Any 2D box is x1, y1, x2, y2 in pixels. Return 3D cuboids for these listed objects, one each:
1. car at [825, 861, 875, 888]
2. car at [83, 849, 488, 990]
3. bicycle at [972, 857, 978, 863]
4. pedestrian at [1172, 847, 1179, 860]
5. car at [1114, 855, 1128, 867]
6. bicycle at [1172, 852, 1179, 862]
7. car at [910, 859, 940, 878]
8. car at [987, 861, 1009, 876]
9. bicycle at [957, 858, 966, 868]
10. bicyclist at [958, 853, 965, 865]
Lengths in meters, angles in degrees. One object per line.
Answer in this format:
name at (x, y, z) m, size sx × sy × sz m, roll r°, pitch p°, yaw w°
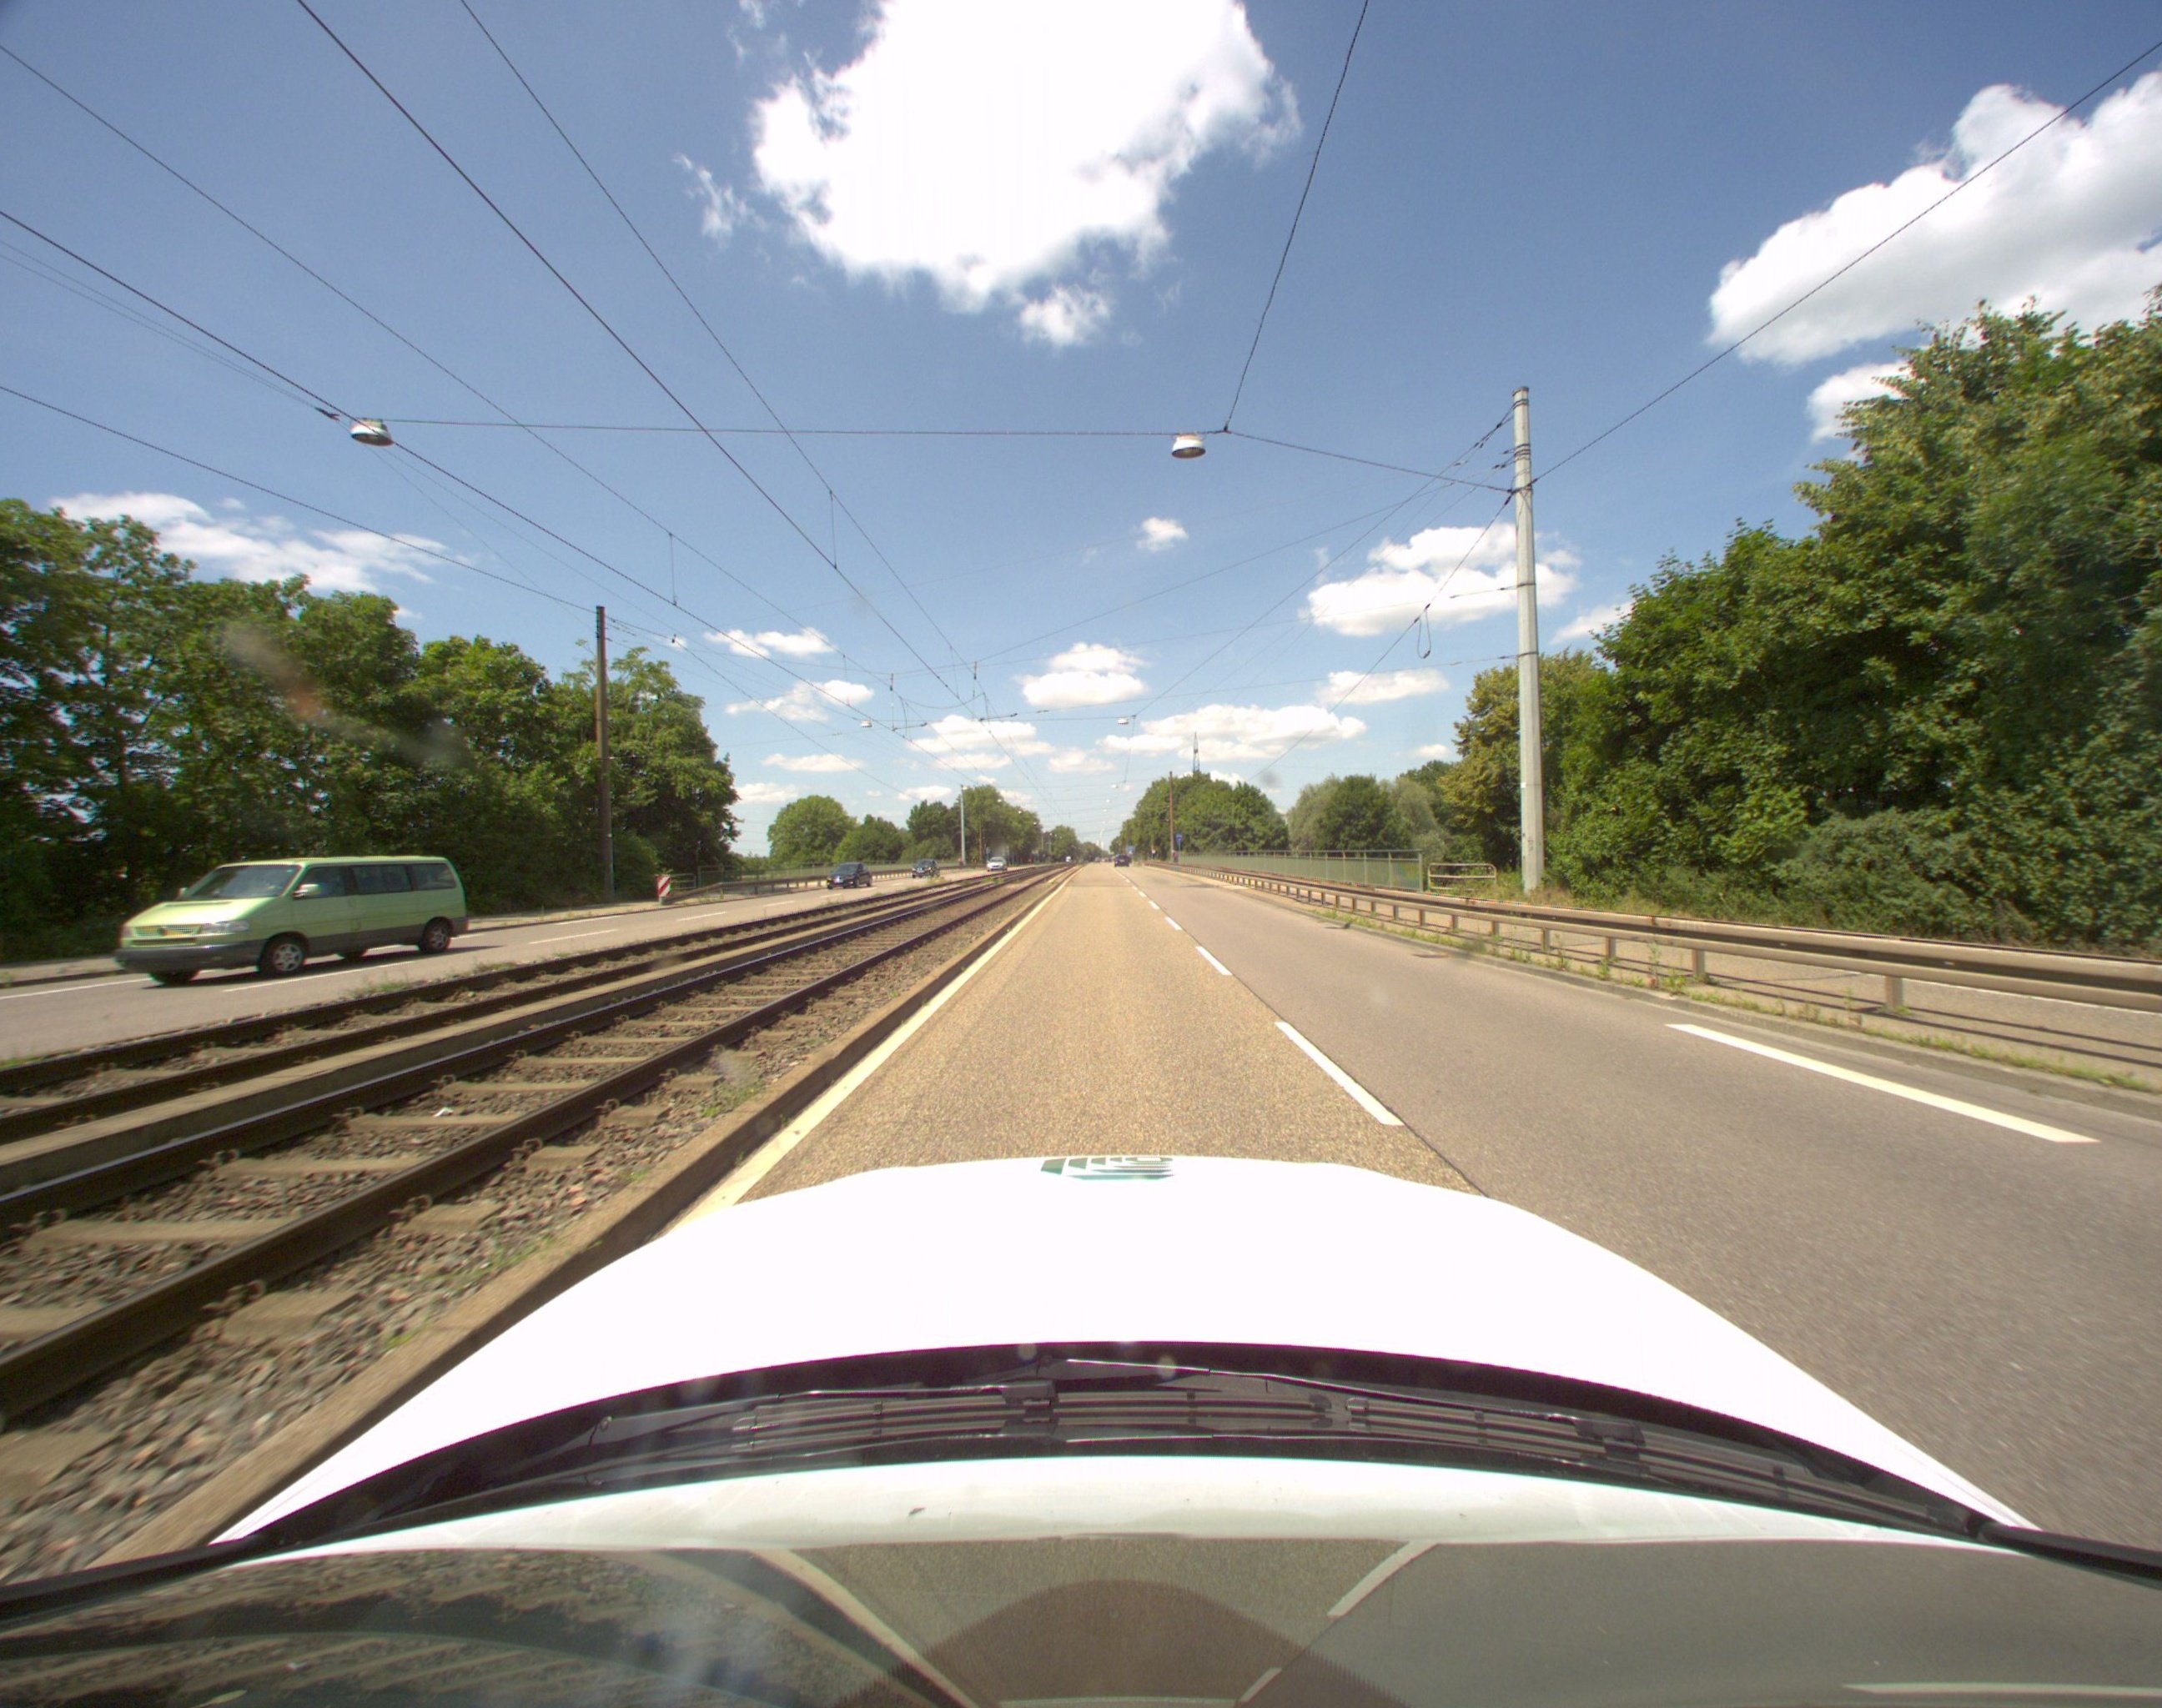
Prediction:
car at (-13.002, 1.129, 45.963) m, size 1.557 × 1.347 × 3.930 m, roll -2°, pitch 0°, yaw 1°
car at (-13.177, 0.951, 14.150) m, size 1.805 × 1.925 × 5.180 m, roll -2°, pitch 0°, yaw 1°
bicycle at (-15.392, 0.879, 118.221) m, size 0.521 × 0.843 × 2.035 m, roll 0°, pitch 0°, yaw -1°
pedestrian at (10.048, -0.045, 86.568) m, size 0.625 × 1.374 × 1.051 m, roll -2°, pitch -1°, yaw 1°
car at (4.885, 0.854, 100.001) m, size 1.581 × 1.343 × 3.271 m, roll -2°, pitch 0°, yaw 0°
bicycle at (10.060, 0.354, 86.495) m, size 0.557 × 1.024 × 1.848 m, roll -2°, pitch -1°, yaw 1°
car at (-12.360, 1.113, 64.671) m, size 1.569 × 1.400 × 3.938 m, roll -2°, pitch 0°, yaw 1°
car at (-8.666, 1.533, 85.322) m, size 1.705 × 1.420 × 4.625 m, roll -2°, pitch 0°, yaw 1°
bicycle at (-15.623, 1.184, 106.620) m, size 0.854 × 1.185 × 2.062 m, roll 0°, pitch 0°, yaw 1°
bicyclist at (-15.611, 0.647, 106.725) m, size 0.760 × 1.622 × 0.838 m, roll 0°, pitch -1°, yaw 1°
